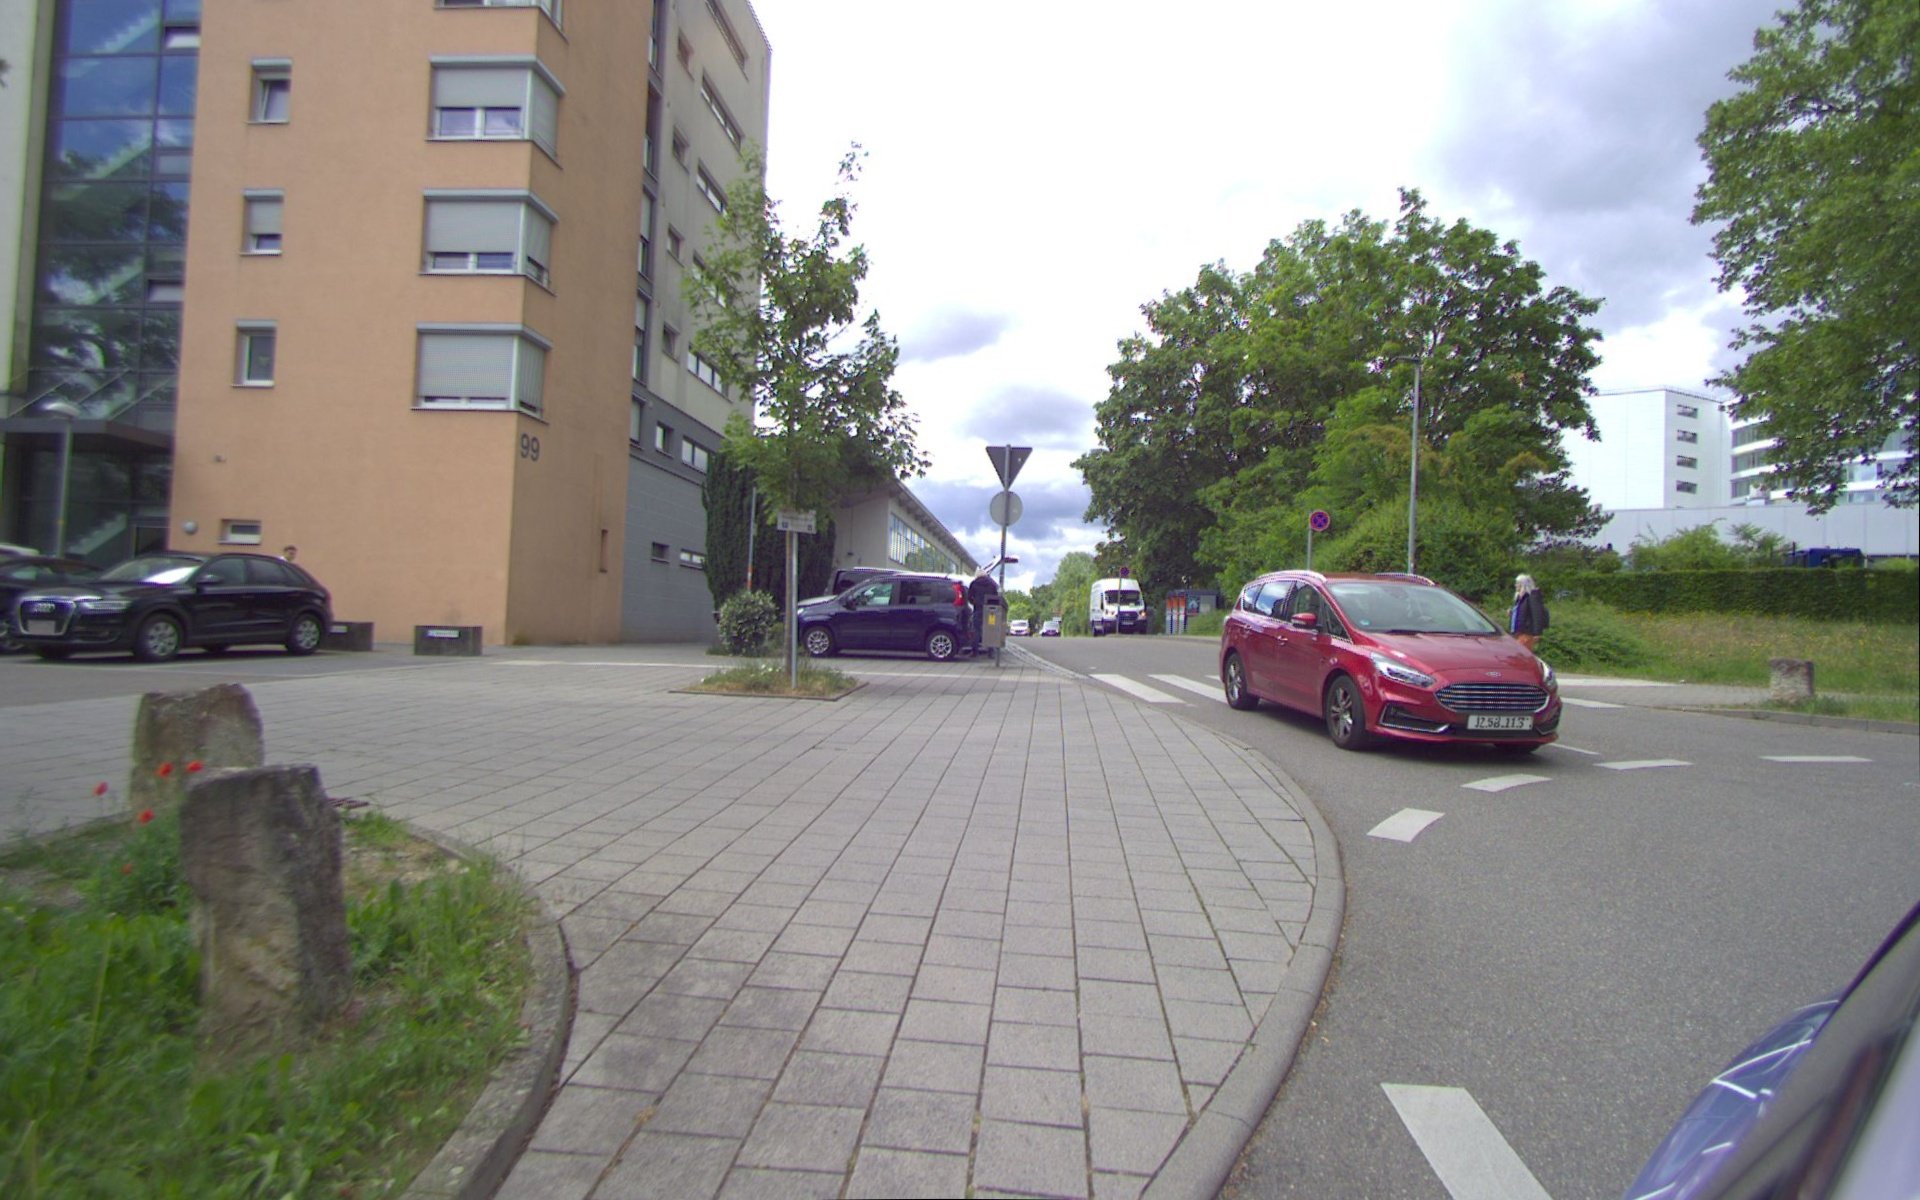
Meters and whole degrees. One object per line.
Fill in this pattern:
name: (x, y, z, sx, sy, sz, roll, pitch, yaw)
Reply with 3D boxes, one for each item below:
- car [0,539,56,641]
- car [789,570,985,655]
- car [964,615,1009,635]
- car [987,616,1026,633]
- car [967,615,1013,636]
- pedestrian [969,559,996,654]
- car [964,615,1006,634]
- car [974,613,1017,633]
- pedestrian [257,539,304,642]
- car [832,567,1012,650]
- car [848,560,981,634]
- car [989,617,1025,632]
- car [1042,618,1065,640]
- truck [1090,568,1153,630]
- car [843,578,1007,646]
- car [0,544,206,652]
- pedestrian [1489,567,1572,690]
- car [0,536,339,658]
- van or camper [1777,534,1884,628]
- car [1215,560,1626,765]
car: (-16.060, -0.196, 14.924, 1.661, 1.614, 4.130, 1, -1, 1)
car: (-1.306, 0.230, 18.935, 3.464, 1.495, 1.502, 1, -2, 5)
car: (2.000, 1.869, 75.981, 3.240, 1.407, 1.508, 1, 1, 5)
car: (4.427, 2.350, 96.191, 3.710, 1.462, 1.640, 1, 1, 5)
car: (2.184, 1.811, 73.254, 3.240, 1.407, 1.508, 1, 1, 5)
pedestrian: (0.455, 0.132, 19.930, 0.476, 1.836, 0.582, 0, -2, 6)
car: (2.009, 1.970, 80.433, 3.240, 1.407, 1.508, 1, 1, 5)
car: (2.721, 1.782, 78.053, 3.240, 1.407, 1.508, 1, 1, 5)
pedestrian: (-12.536, -0.163, 18.674, 0.497, 1.877, 0.480, 1, -2, -4)
car: (-0.768, 0.155, 21.884, 3.710, 1.679, 1.571, 1, 1, 5)
car: (-1.360, -0.088, 31.288, 3.907, 2.188, 1.827, 1, -2, 5)
car: (4.933, 2.576, 106.025, 3.710, 1.462, 1.640, 1, 1, 5)
car: (8.672, 2.680, 93.851, 1.966, 2.040, 3.990, 0, -1, 7)
truck: (7.426, 0.022, 46.976, 2.029, 2.640, 5.805, 1, -1, 1)
car: (-0.765, 0.245, 23.878, 3.710, 1.500, 1.640, 1, 1, 5)
car: (-13.766, 0.000, 15.220, 1.664, 1.477, 3.829, 0, -1, 8)
pedestrian: (8.017, 0.377, 14.247, 0.827, 1.686, 0.613, 0, 1, 9)
car: (-11.405, 0.001, 14.845, 1.726, 1.537, 4.044, 0, -1, 8)
van or camper: (28.227, -0.526, 32.962, 2.101, 2.834, 4.423, 0, -2, 35)
car: (4.369, 0.456, 10.584, 1.941, 1.665, 4.541, 1, 1, -4)
